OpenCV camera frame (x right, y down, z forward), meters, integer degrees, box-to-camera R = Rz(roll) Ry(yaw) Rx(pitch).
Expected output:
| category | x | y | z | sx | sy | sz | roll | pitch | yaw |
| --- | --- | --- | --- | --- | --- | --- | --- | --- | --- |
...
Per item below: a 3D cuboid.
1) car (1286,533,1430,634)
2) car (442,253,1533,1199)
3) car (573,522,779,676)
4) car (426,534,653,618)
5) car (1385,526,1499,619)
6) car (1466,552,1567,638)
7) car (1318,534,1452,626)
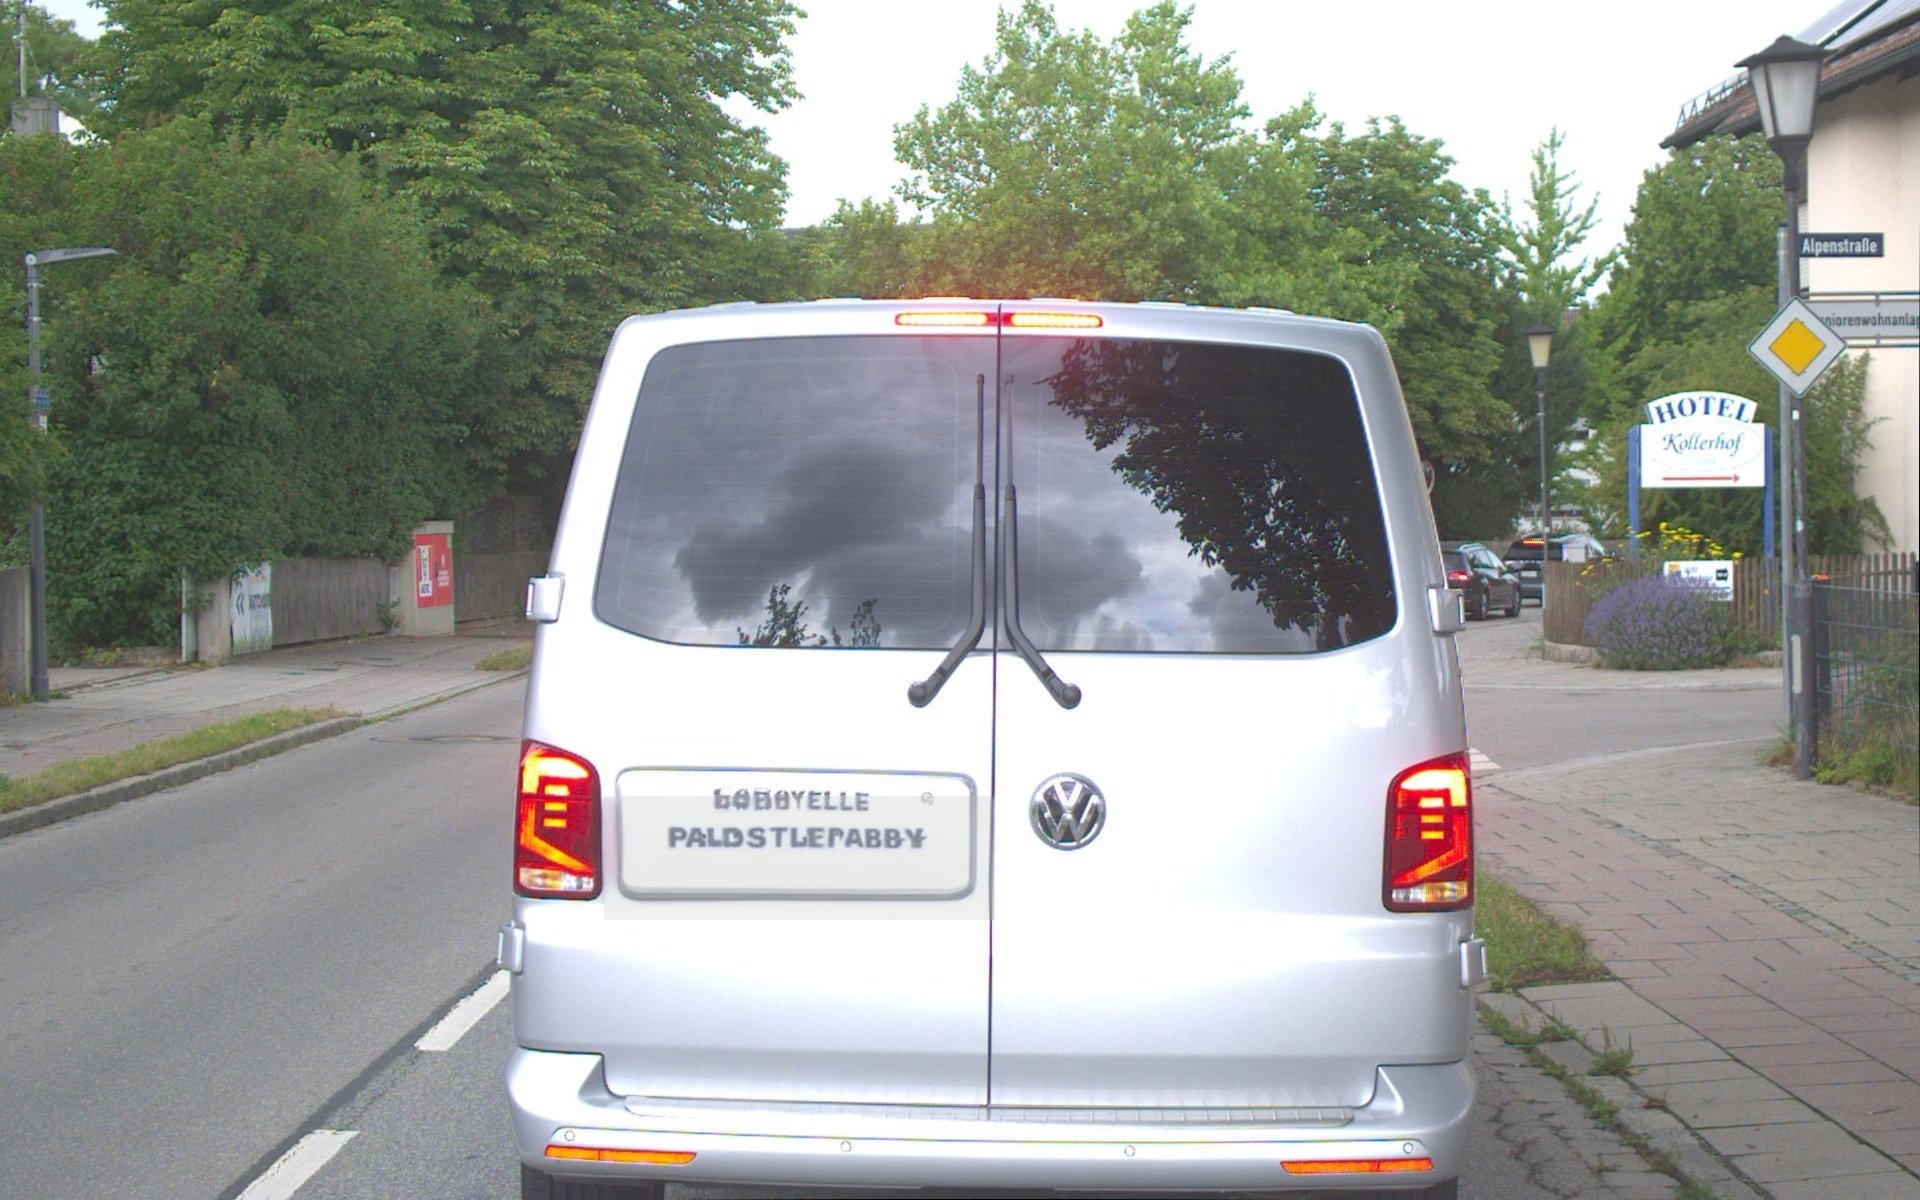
| category | x | y | z | sx | sy | sz | roll | pitch | yaw |
| --- | --- | --- | --- | --- | --- | --- | --- | --- | --- |
| car | 6.299 | -0.284 | 54.118 | 1.882 | 1.530 | 3.919 | 0 | 1 | 12 |
| car | 0.069 | 0.337 | 7.921 | 1.881 | 1.934 | 3.921 | 0 | 1 | 1 |
| car | -3.064 | -0.051 | 37.853 | 1.930 | 1.569 | 4.312 | 1 | 1 | -1 |
| car | -7.584 | -0.448 | 61.948 | 3.986 | 1.481 | 2.001 | 0 | 1 | -8 |
| car | 9.427 | -0.553 | 66.995 | 1.882 | 1.742 | 4.078 | 0 | 1 | 12 |
| car | 12.244 | -0.138 | 75.508 | 1.882 | 1.819 | 3.918 | 0 | 1 | 14 |
| car | 7.446 | -0.372 | 59.975 | 1.882 | 1.530 | 3.918 | 0 | 1 | 14 |
